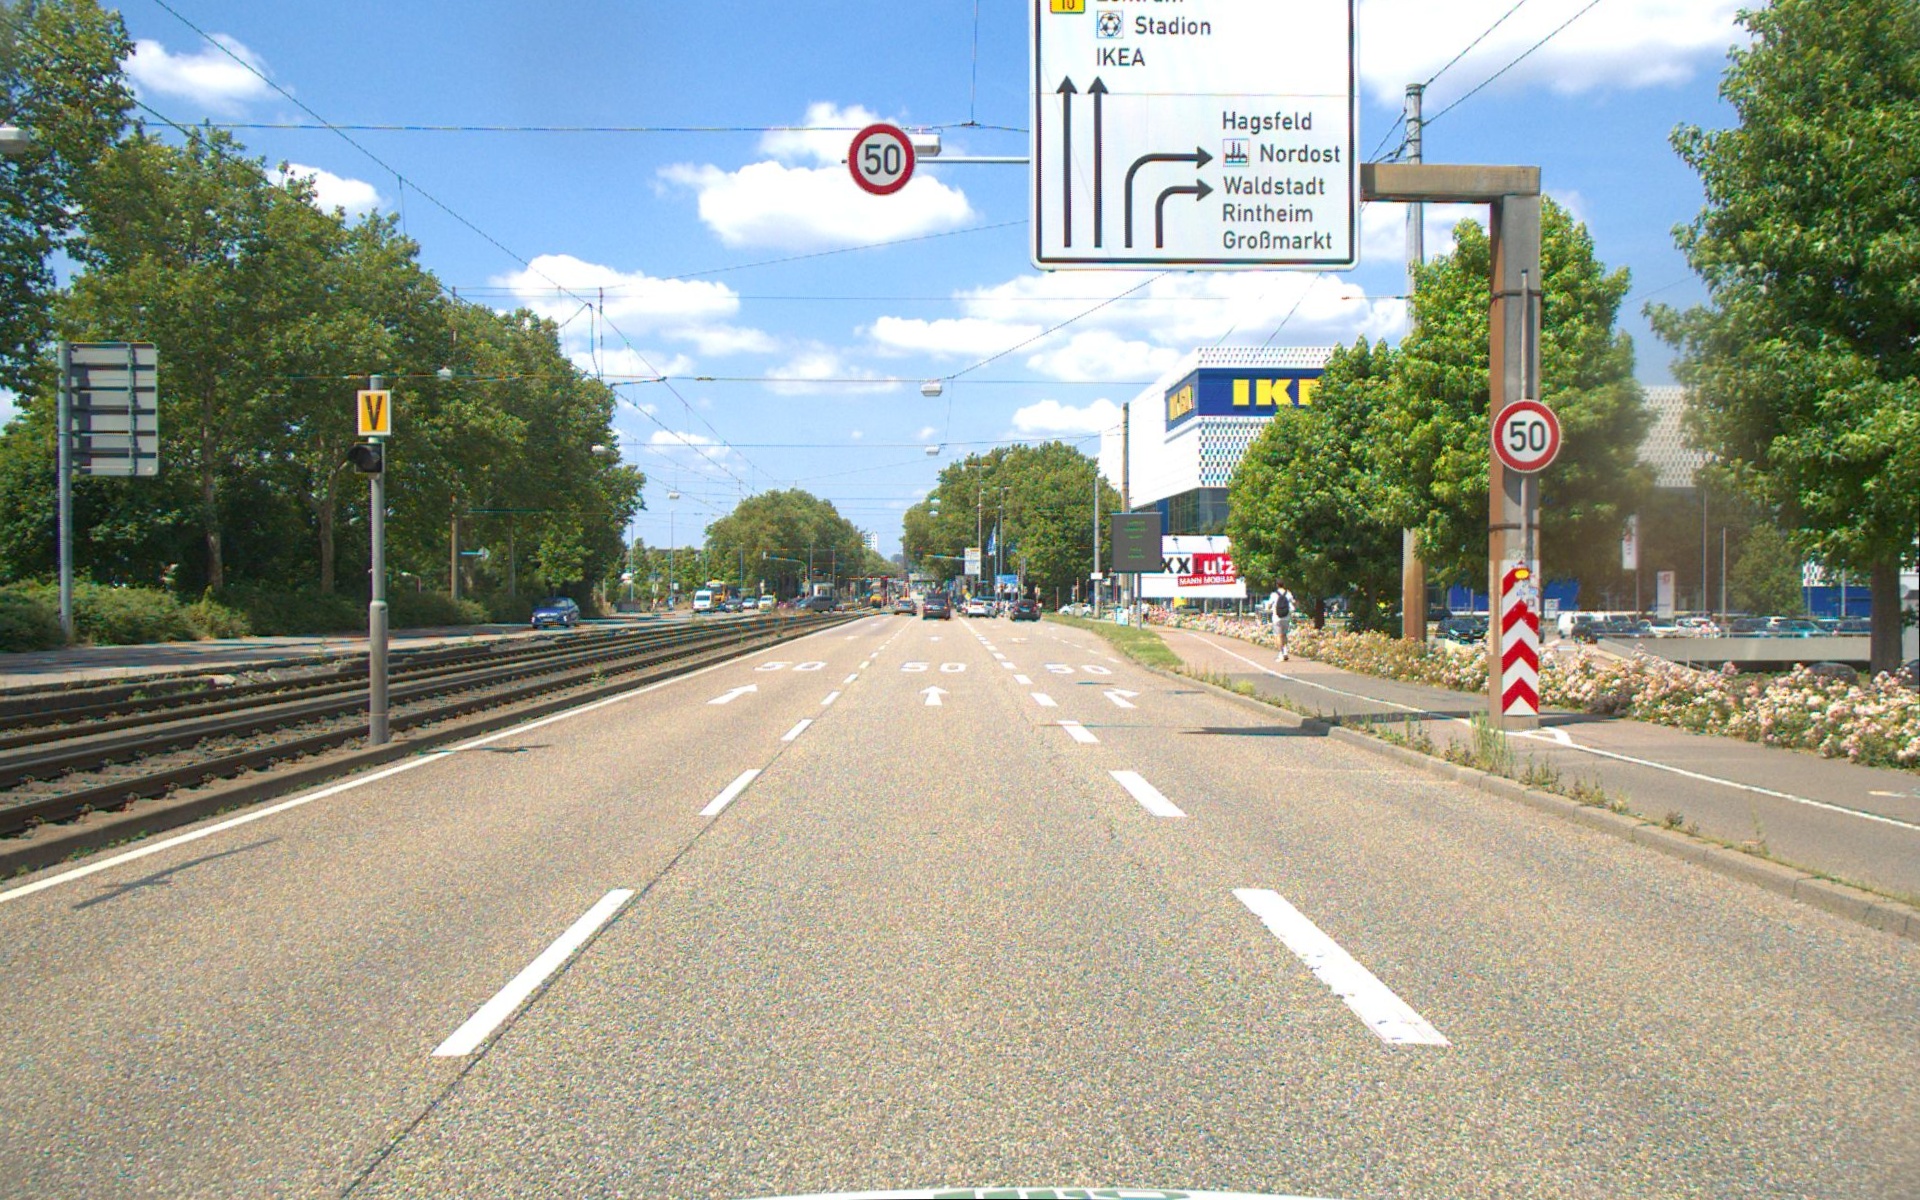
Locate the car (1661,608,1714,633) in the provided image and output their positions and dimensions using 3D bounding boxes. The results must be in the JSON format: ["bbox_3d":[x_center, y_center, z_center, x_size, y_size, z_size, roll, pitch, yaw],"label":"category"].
[{"bbox_3d":[46.298,1.281,105.331,1.539,1.508,3.886,1,1,-3],"label":"car"}]

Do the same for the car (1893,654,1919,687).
[{"bbox_3d":[47.688,3.504,81.031,1.705,1.508,3.963,1,1,-1],"label":"car"}]

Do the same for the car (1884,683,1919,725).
[{"bbox_3d":[38.401,4.154,65.151,1.705,1.508,4.087,1,1,0],"label":"car"}]

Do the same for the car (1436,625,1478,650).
[{"bbox_3d":[34.398,2.586,114.558,1.539,1.508,3.886,1,1,-3],"label":"car"}]

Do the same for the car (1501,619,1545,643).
[{"bbox_3d":[38.931,2.130,114.418,1.539,1.508,3.886,1,1,-3],"label":"car"}]

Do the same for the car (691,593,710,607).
[{"bbox_3d":[-29.790,-0.026,189.971,1.590,1.577,3.703,1,0,-1],"label":"car"}]

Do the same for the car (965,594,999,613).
[{"bbox_3d":[1.979,0.291,146.051,1.651,1.577,3.984,2,1,21],"label":"car"}]

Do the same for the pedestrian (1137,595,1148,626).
[{"bbox_3d":[10.999,0.617,99.812,0.568,1.823,0.589,1,0,-3],"label":"pedestrian"}]

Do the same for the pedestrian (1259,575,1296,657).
[{"bbox_3d":[7.209,0.358,37.553,0.655,1.823,0.925,1,0,1],"label":"pedestrian"}]

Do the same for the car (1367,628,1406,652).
[{"bbox_3d":[29.379,2.733,113.978,1.539,1.508,3.886,1,1,-3],"label":"car"}]

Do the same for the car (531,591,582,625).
[{"bbox_3d":[-19.646,0.374,80.691,1.612,1.577,4.214,1,1,-3],"label":"car"}]

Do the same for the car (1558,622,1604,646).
[{"bbox_3d":[42.959,2.371,114.486,1.539,1.508,3.886,1,1,-3],"label":"car"}]

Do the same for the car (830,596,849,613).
[{"bbox_3d":[-12.000,0.417,164.907,1.805,1.577,3.775,2,0,-2],"label":"car"}]

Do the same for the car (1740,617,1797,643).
[{"bbox_3d":[50.966,1.892,104.355,1.539,1.508,3.886,1,1,-3],"label":"car"}]

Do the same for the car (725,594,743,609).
[{"bbox_3d":[-26.095,0.180,191.053,1.590,1.577,3.703,1,0,-1],"label":"car"}]

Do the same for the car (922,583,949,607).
[{"bbox_3d":[-1.706,-0.373,114.888,1.838,1.566,3.776,1,1,-2],"label":"car"}]

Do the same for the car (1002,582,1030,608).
[{"bbox_3d":[4.070,-0.400,120.298,1.861,1.837,3.976,1,0,-1],"label":"car"}]

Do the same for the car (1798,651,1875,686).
[{"bbox_3d":[43.302,3.360,81.801,1.705,1.508,3.963,1,1,-1],"label":"car"}]

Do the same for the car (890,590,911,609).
[{"bbox_3d":[-5.326,-0.065,147.727,1.805,1.577,3.775,2,0,-2],"label":"car"}]
